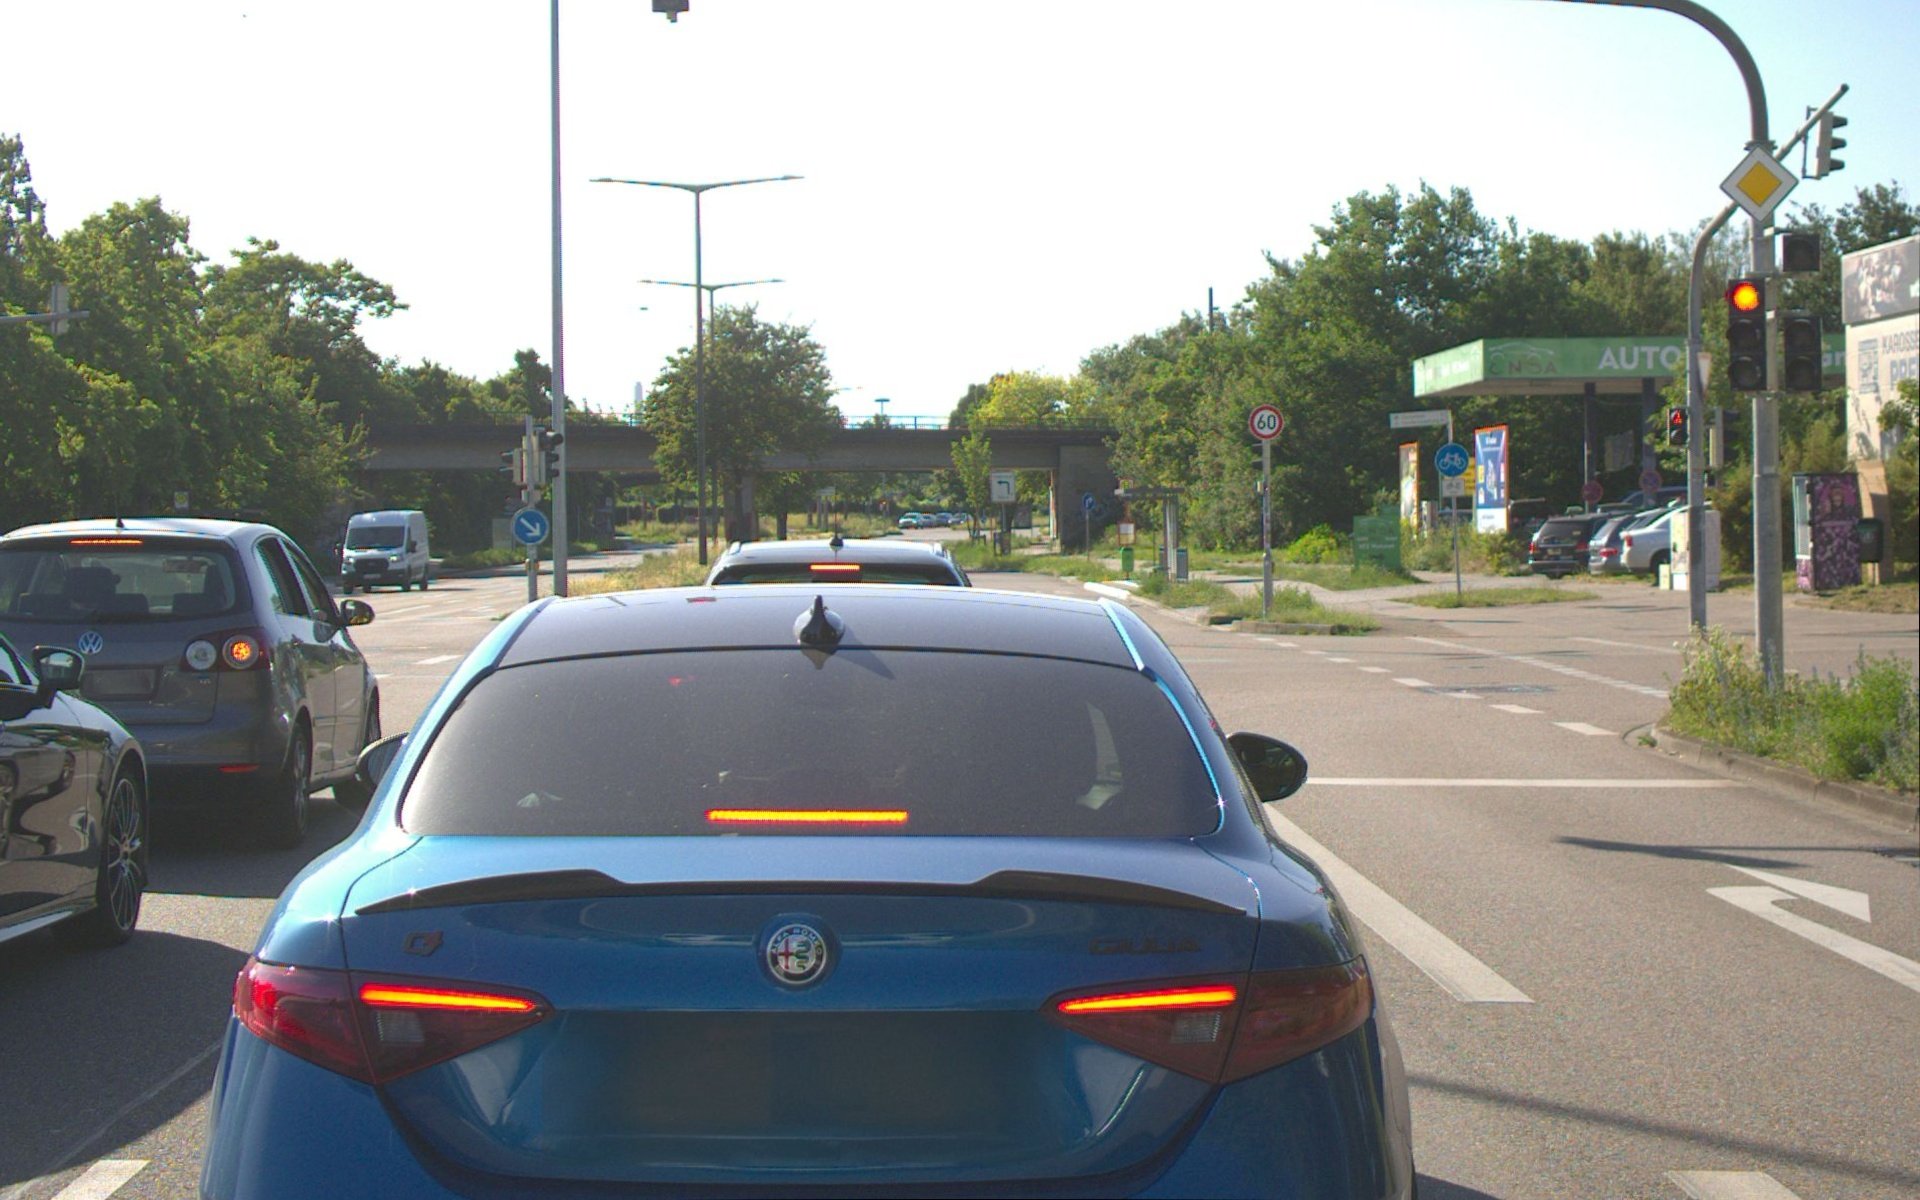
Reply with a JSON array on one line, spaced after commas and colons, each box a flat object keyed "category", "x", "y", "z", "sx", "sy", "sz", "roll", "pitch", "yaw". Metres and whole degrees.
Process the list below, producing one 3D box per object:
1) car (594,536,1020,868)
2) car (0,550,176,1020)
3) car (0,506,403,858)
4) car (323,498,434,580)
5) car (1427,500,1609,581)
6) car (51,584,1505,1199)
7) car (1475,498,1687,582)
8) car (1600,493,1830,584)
[{"category": "car", "x": -0.696, "y": 0.411, "z": 17.080, "sx": 1.866, "sy": 1.445, "sz": 3.932, "roll": 0, "pitch": 1, "yaw": -1}, {"category": "car", "x": -3.802, "y": 0.570, "z": 10.642, "sx": 1.768, "sy": 1.409, "sz": 4.461, "roll": 0, "pitch": 1, "yaw": -1}, {"category": "car", "x": -3.971, "y": 0.331, "z": 17.542, "sx": 1.648, "sy": 1.593, "sz": 3.932, "roll": 0, "pitch": 1, "yaw": -1}, {"category": "car", "x": -17.758, "y": -1.873, "z": 105.236, "sx": 2.431, "sy": 2.418, "sz": 5.831, "roll": 0, "pitch": 1, "yaw": -1}, {"category": "car", "x": 12.022, "y": -1.281, "z": 74.155, "sx": 3.483, "sy": 1.700, "sz": 1.696, "roll": -1, "pitch": 1, "yaw": -16}, {"category": "car", "x": -0.257, "y": 0.696, "z": 6.391, "sx": 1.866, "sy": 1.380, "sz": 3.932, "roll": 0, "pitch": 1, "yaw": -1}, {"category": "car", "x": 12.822, "y": -1.244, "z": 70.964, "sx": 3.986, "sy": 1.700, "sz": 1.696, "roll": -1, "pitch": 1, "yaw": -19}, {"category": "car", "x": 14.513, "y": -1.191, "z": 66.109, "sx": 3.986, "sy": 1.700, "sz": 1.696, "roll": -1, "pitch": 1, "yaw": -16}]
